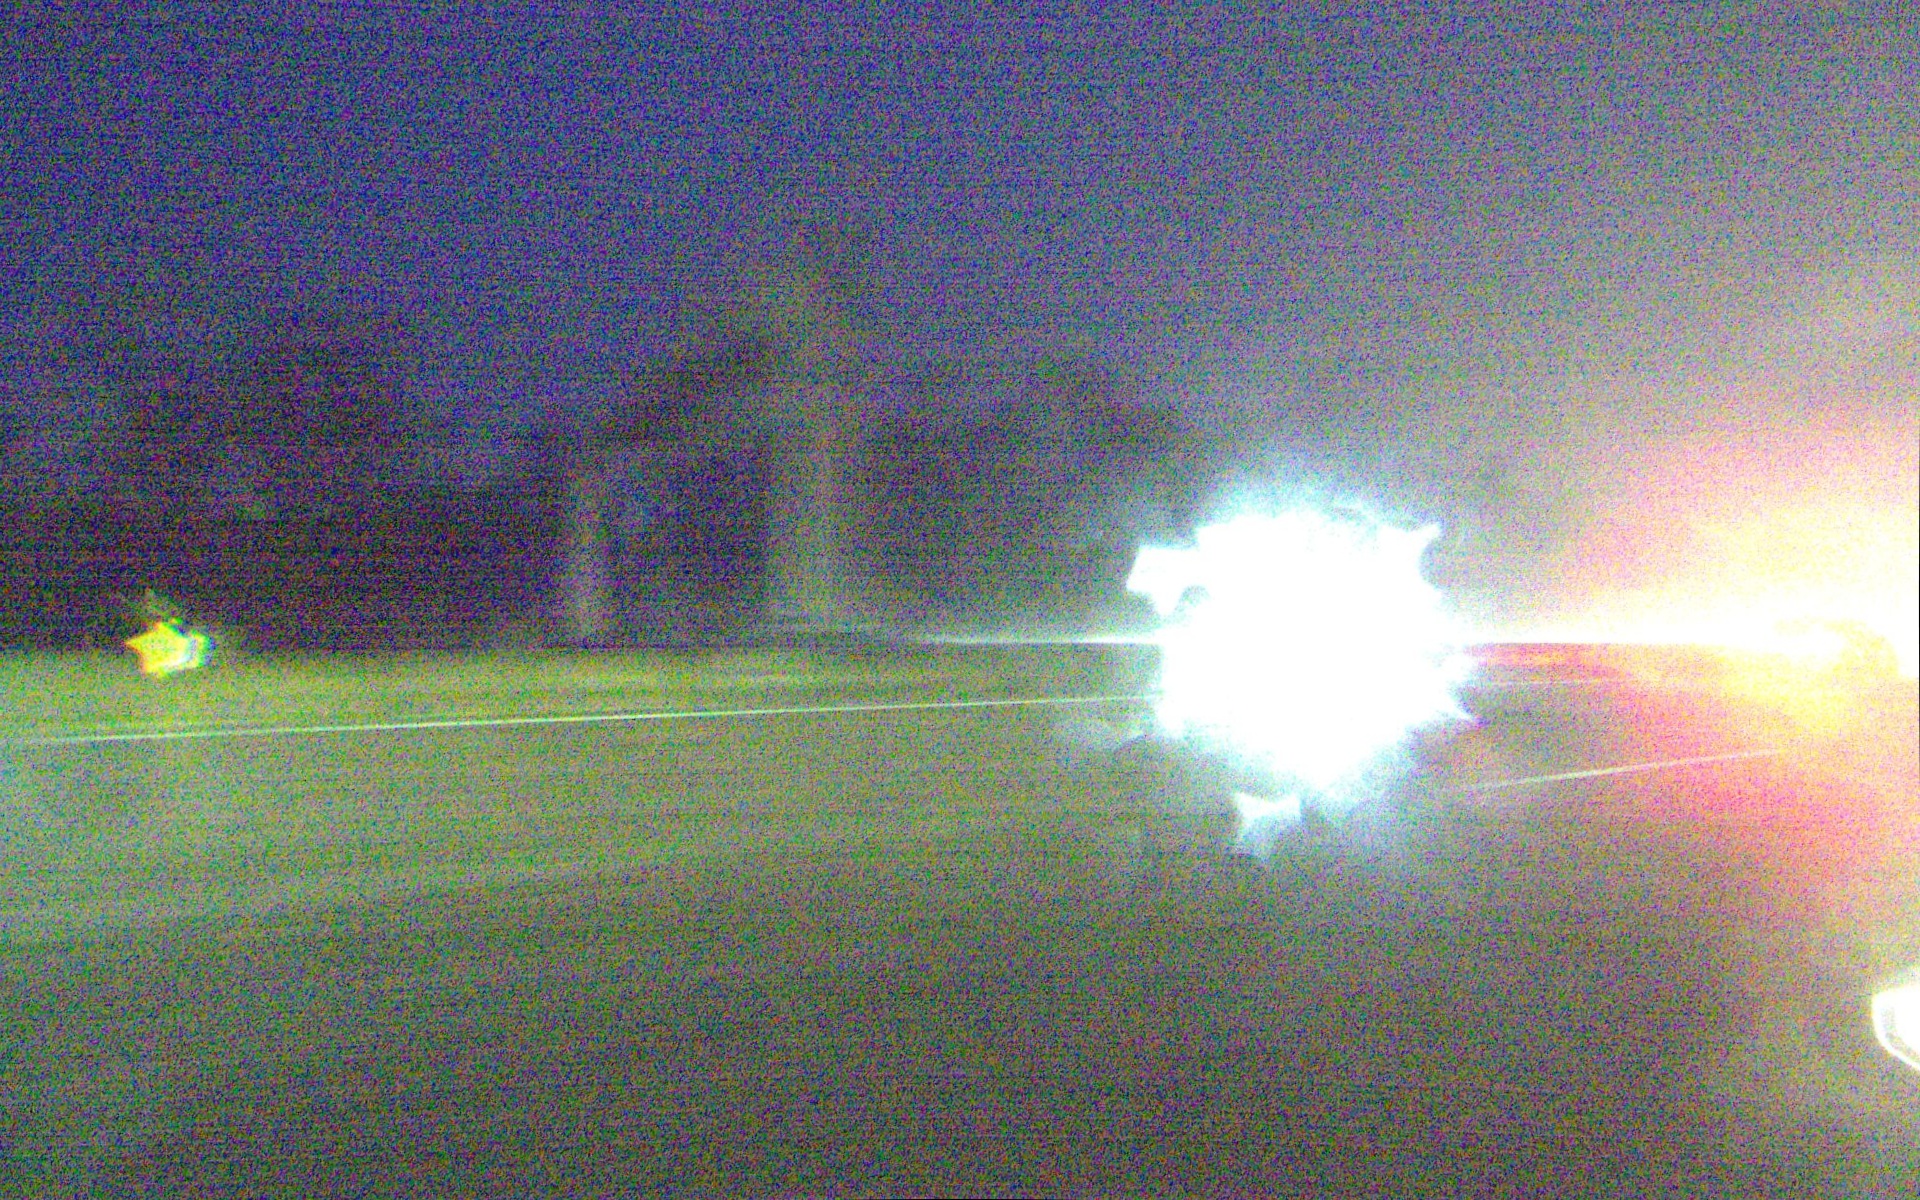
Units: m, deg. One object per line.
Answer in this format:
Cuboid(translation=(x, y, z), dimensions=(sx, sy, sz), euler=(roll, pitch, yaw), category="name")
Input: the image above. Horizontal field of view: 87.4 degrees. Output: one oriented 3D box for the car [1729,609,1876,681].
Cuboid(translation=(21.232, 1.108, 25.270), dimensions=(3.963, 1.617, 1.979), euler=(2, 0, -37), category="car")
